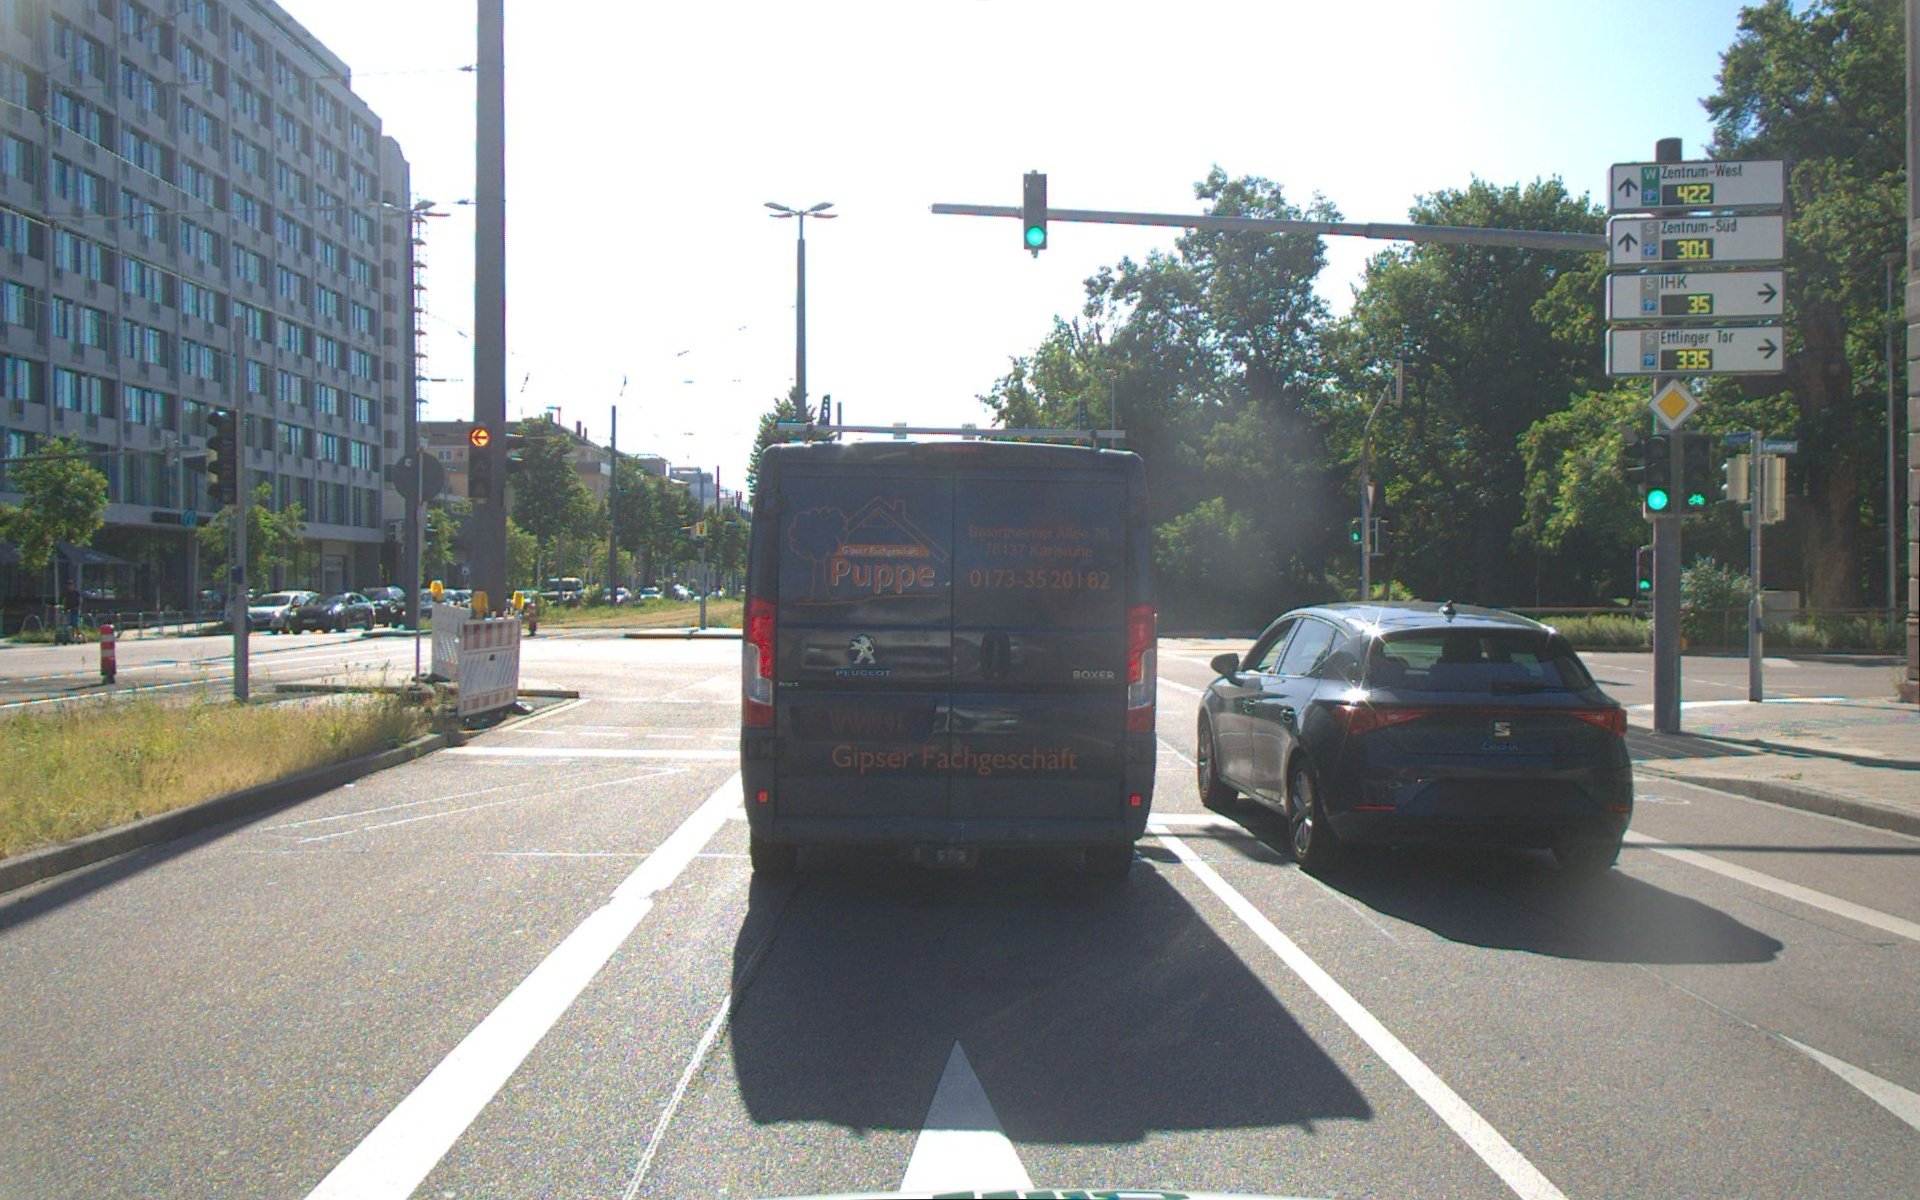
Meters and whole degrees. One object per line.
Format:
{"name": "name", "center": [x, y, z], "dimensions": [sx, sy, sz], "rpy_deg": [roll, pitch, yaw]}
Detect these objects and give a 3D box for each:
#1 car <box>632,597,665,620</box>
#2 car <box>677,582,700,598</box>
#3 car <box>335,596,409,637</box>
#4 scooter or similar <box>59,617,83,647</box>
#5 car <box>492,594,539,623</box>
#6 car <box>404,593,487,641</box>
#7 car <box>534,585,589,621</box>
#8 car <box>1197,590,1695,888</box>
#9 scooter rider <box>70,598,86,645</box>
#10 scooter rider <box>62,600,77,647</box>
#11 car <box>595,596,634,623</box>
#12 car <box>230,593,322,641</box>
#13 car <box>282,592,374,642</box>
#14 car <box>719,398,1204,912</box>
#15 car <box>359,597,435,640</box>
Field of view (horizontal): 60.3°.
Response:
{"name": "car", "center": [-23.715, 0.654, 126.118], "dimensions": [1.754, 1.680, 4.000], "rpy_deg": [-1, 0, -1]}
{"name": "car", "center": [-28.256, -1.024, 171.969], "dimensions": [1.754, 1.680, 4.000], "rpy_deg": [0, 1, -1]}
{"name": "car", "center": [-25.377, 0.669, 71.509], "dimensions": [1.754, 1.680, 4.000], "rpy_deg": [-1, 0, -1]}
{"name": "scooter or similar", "center": [-28.584, 1.027, 53.170], "dimensions": [0.279, 0.964, 0.768], "rpy_deg": [0, 0, 6]}
{"name": "car", "center": [-26.524, 0.502, 98.819], "dimensions": [1.754, 1.680, 4.000], "rpy_deg": [-1, 0, -1]}
{"name": "car", "center": [-18.989, 0.600, 61.229], "dimensions": [1.754, 1.680, 4.334], "rpy_deg": [-1, 0, -1]}
{"name": "car", "center": [-19.603, 0.123, 81.566], "dimensions": [1.754, 1.680, 4.000], "rpy_deg": [-1, 0, -1]}
{"name": "car", "center": [2.694, 0.685, 10.123], "dimensions": [1.756, 1.453, 3.848], "rpy_deg": [1, 0, -3]}
{"name": "scooter rider", "center": [-27.775, 0.687, 52.081], "dimensions": [0.335, 1.478, 0.239], "rpy_deg": [-1, 0, -1]}
{"name": "scooter rider", "center": [-28.595, 0.748, 53.092], "dimensions": [0.335, 1.478, 0.239], "rpy_deg": [-1, 0, -1]}
{"name": "car", "center": [-22.622, 0.614, 108.321], "dimensions": [1.754, 1.680, 4.000], "rpy_deg": [-1, 0, -1]}
{"name": "car", "center": [-25.125, 0.591, 60.900], "dimensions": [1.754, 1.680, 4.000], "rpy_deg": [-1, 0, -1]}
{"name": "car", "center": [-22.370, 0.557, 58.664], "dimensions": [1.754, 1.680, 4.000], "rpy_deg": [-1, 0, -1]}
{"name": "car", "center": [-0.070, 0.219, 9.777], "dimensions": [2.173, 2.307, 4.482], "rpy_deg": [1, 1, -2]}
{"name": "car", "center": [-22.853, 0.724, 67.277], "dimensions": [1.754, 1.680, 4.000], "rpy_deg": [-1, 0, -1]}
